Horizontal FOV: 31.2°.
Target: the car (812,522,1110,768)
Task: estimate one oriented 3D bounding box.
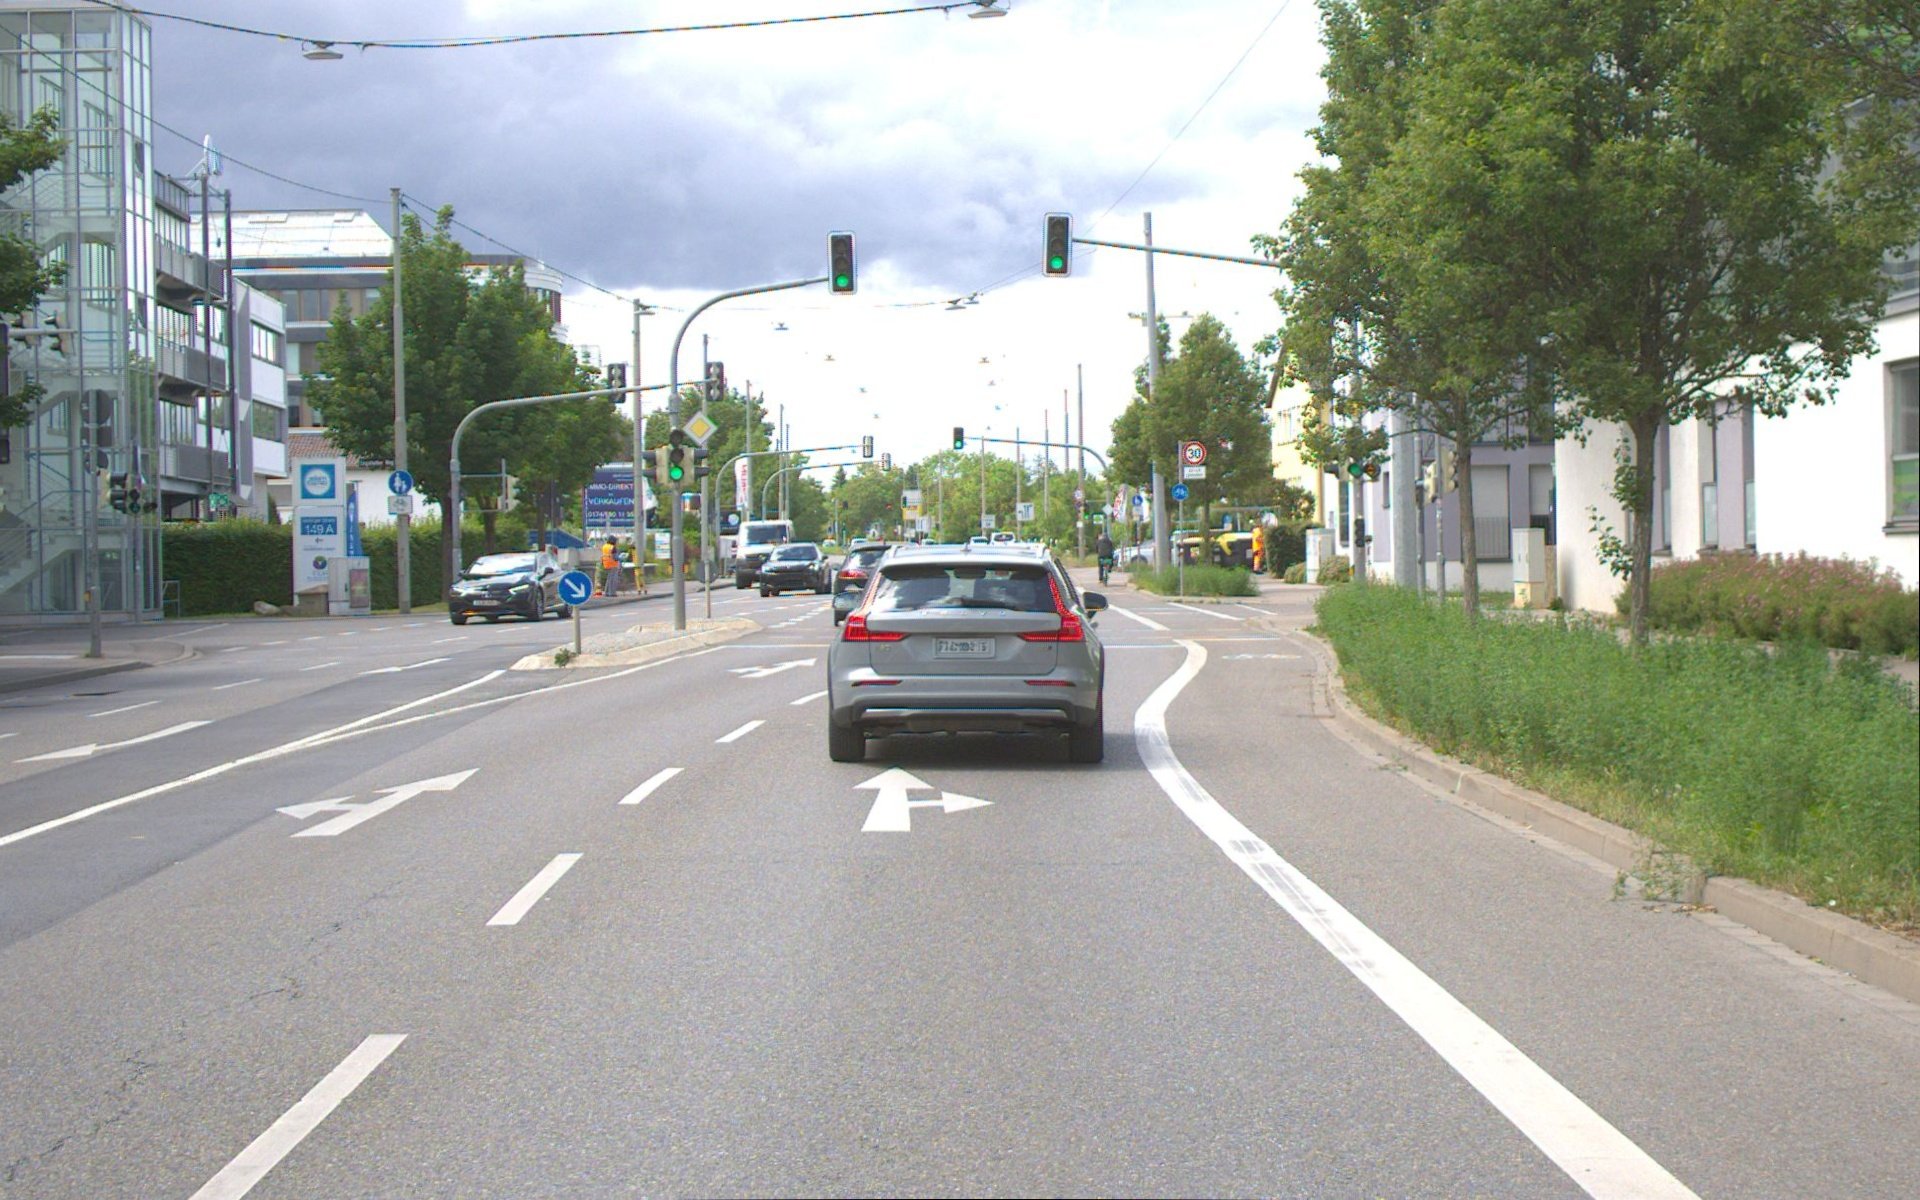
[{"bbox_3d":[0.076,0.282,24.257,1.896,1.549,4.000,1,0,2],"label":"car"}]

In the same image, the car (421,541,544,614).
[{"bbox_3d":[-10.257,-0.497,74.230,2.024,1.440,5.050,-2,1,-1],"label":"car"}]

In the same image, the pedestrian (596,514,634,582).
[{"bbox_3d":[-10.279,-1.554,102.314,0.725,2.007,0.808,1,0,43],"label":"pedestrian"}]

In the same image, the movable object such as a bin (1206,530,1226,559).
[{"bbox_3d":[9.153,-1.990,122.959,0.567,1.023,0.405,-1,0,38],"label":"movable object such as a bin"}]

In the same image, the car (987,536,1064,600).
[{"bbox_3d":[1.775,-0.872,94.930,1.993,1.689,4.000,1,0,0],"label":"car"}]

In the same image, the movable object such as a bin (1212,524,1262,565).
[{"bbox_3d":[9.857,-1.971,122.364,1.322,1.430,1.248,-1,0,38],"label":"movable object such as a bin"}]

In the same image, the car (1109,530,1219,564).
[{"bbox_3d":[8.939,-2.335,151.116,4.696,1.488,2.046,0,1,0],"label":"car"}]

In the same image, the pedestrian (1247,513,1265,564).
[{"bbox_3d":[10.364,-2.150,120.353,0.507,1.759,0.500,1,0,17],"label":"pedestrian"}]

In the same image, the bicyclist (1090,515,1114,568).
[{"bbox_3d":[4.626,-1.913,112.013,0.638,1.670,0.890,-4,1,1],"label":"bicyclist"}]

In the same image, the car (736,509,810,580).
[{"bbox_3d":[-6.804,-2.023,125.632,2.142,2.463,6.073,-2,1,1],"label":"car"}]

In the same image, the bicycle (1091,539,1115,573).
[{"bbox_3d":[4.662,-1.428,112.031,0.638,1.059,1.977,-4,1,1],"label":"bicycle"}]

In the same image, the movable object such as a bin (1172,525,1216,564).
[{"bbox_3d":[8.313,-1.957,122.072,1.320,1.356,1.250,-1,0,17],"label":"movable object such as a bin"}]

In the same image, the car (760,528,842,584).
[{"bbox_3d":[-4.617,-1.264,100.390,1.885,1.547,4.539,-2,0,3],"label":"car"}]

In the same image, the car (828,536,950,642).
[{"bbox_3d":[-1.243,-0.196,59.349,1.993,1.711,4.000,1,0,-2],"label":"car"}]
